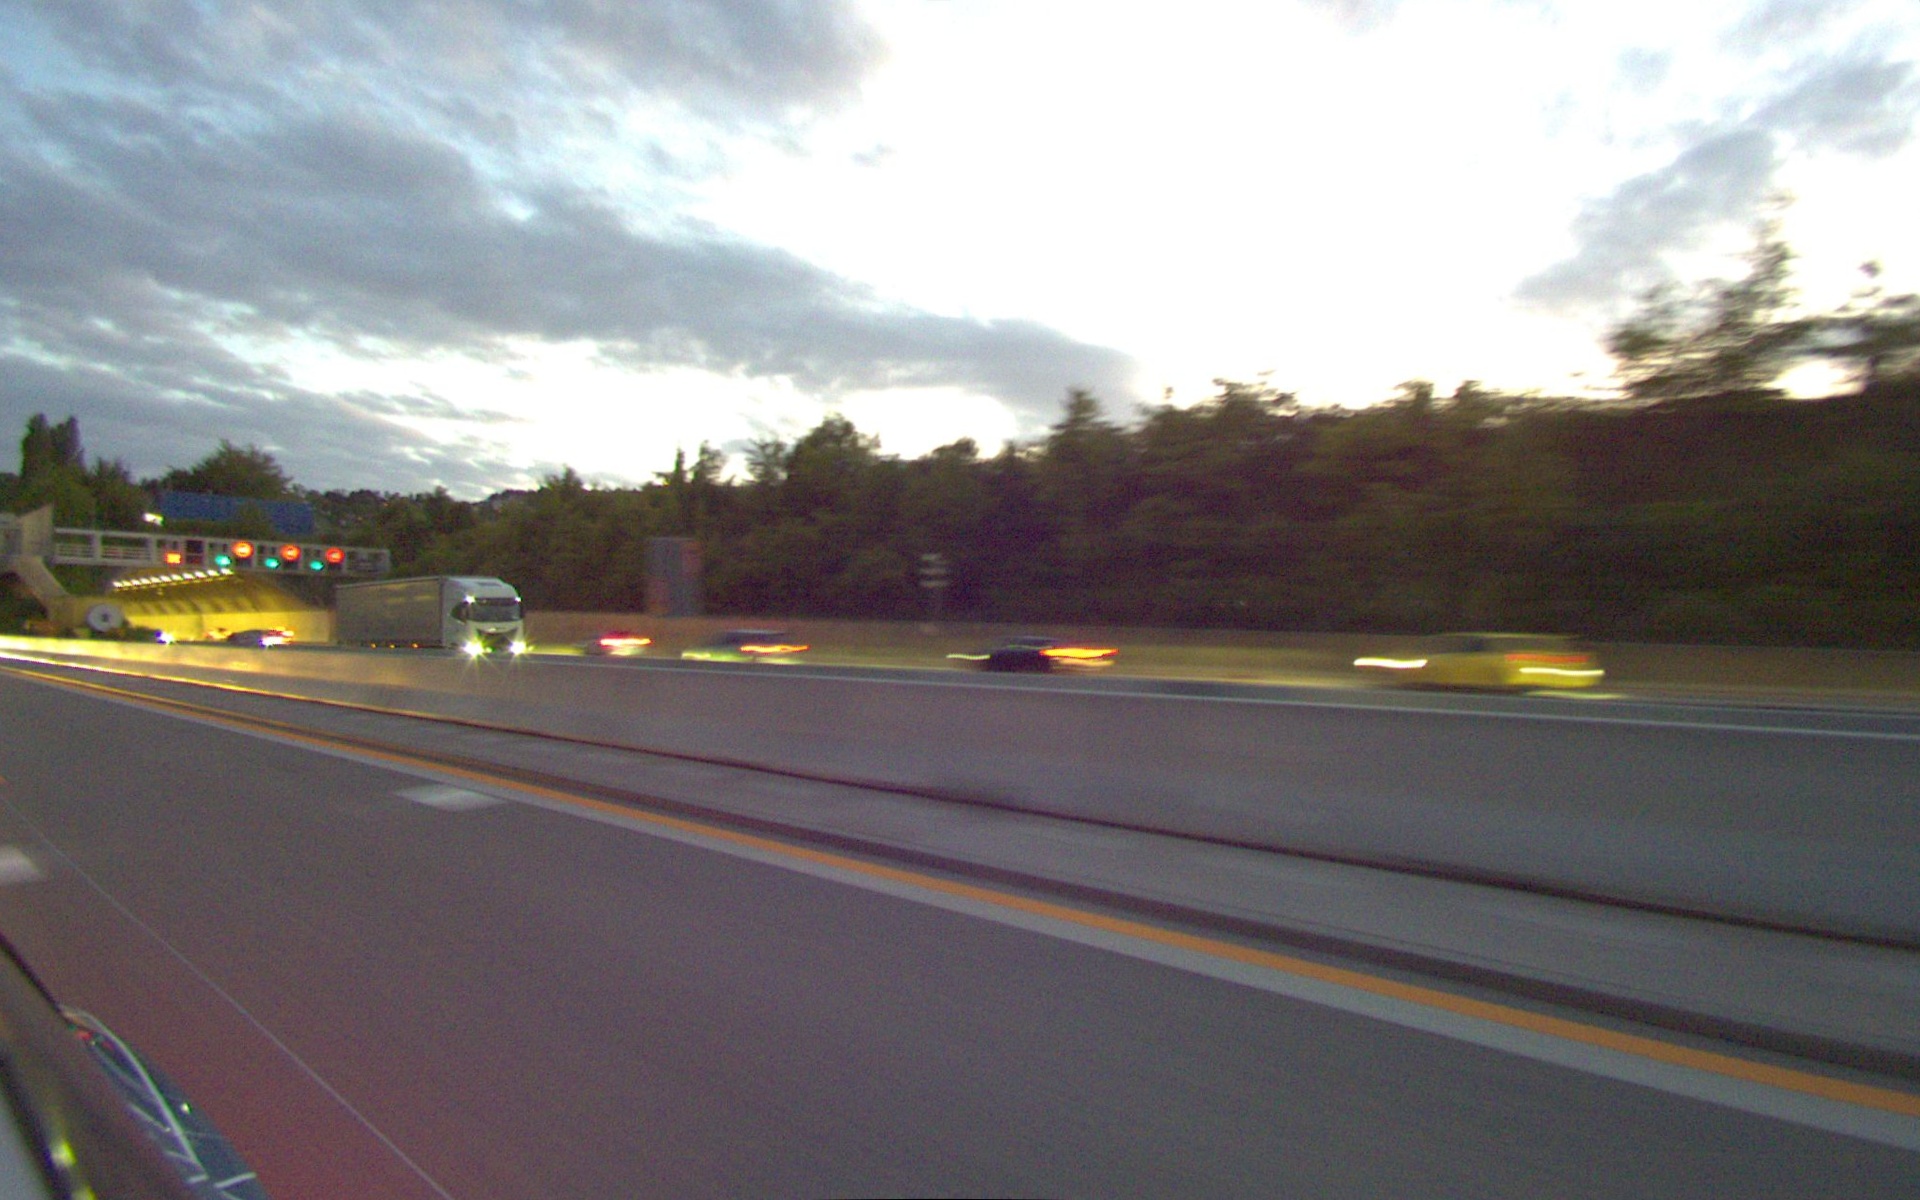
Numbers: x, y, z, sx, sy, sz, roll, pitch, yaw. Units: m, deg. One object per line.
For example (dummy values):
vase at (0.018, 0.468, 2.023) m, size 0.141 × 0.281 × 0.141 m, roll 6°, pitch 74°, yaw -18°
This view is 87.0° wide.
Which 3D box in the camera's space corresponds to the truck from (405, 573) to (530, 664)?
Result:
truck at (-22.224, 0.772, 45.537) m, size 6.299 × 3.803 × 2.774 m, roll -1°, pitch 0°, yaw 41°

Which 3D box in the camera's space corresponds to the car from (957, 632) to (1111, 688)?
car at (2.230, 1.819, 31.572) m, size 4.701 × 1.496 × 1.791 m, roll -1°, pitch 1°, yaw 43°

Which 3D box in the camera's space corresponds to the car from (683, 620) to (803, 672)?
car at (-8.070, 1.641, 37.406) m, size 4.807 × 1.751 × 1.880 m, roll -1°, pitch 0°, yaw 43°

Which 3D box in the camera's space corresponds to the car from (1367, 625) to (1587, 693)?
car at (13.147, 1.434, 25.927) m, size 4.701 × 1.496 × 1.806 m, roll -1°, pitch 1°, yaw 43°

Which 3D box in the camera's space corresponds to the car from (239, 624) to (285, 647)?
car at (-54.668, 2.746, 79.230) m, size 4.874 × 1.600 × 1.788 m, roll -1°, pitch 0°, yaw 41°

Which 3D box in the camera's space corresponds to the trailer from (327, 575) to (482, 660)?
trailer at (-27.969, 0.824, 50.560) m, size 11.828 × 3.811 × 2.770 m, roll -1°, pitch 0°, yaw 41°

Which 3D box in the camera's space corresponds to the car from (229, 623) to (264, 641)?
car at (-65.607, 2.914, 93.007) m, size 4.647 × 1.481 × 1.654 m, roll -1°, pitch 1°, yaw 43°

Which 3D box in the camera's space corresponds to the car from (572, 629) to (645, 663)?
car at (-17.603, 2.263, 50.555) m, size 4.178 × 1.519 × 1.646 m, roll -1°, pitch 0°, yaw 42°

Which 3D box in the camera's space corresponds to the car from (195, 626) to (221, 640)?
car at (-82.891, 3.645, 111.589) m, size 4.095 × 1.481 × 1.560 m, roll -1°, pitch 0°, yaw 42°
